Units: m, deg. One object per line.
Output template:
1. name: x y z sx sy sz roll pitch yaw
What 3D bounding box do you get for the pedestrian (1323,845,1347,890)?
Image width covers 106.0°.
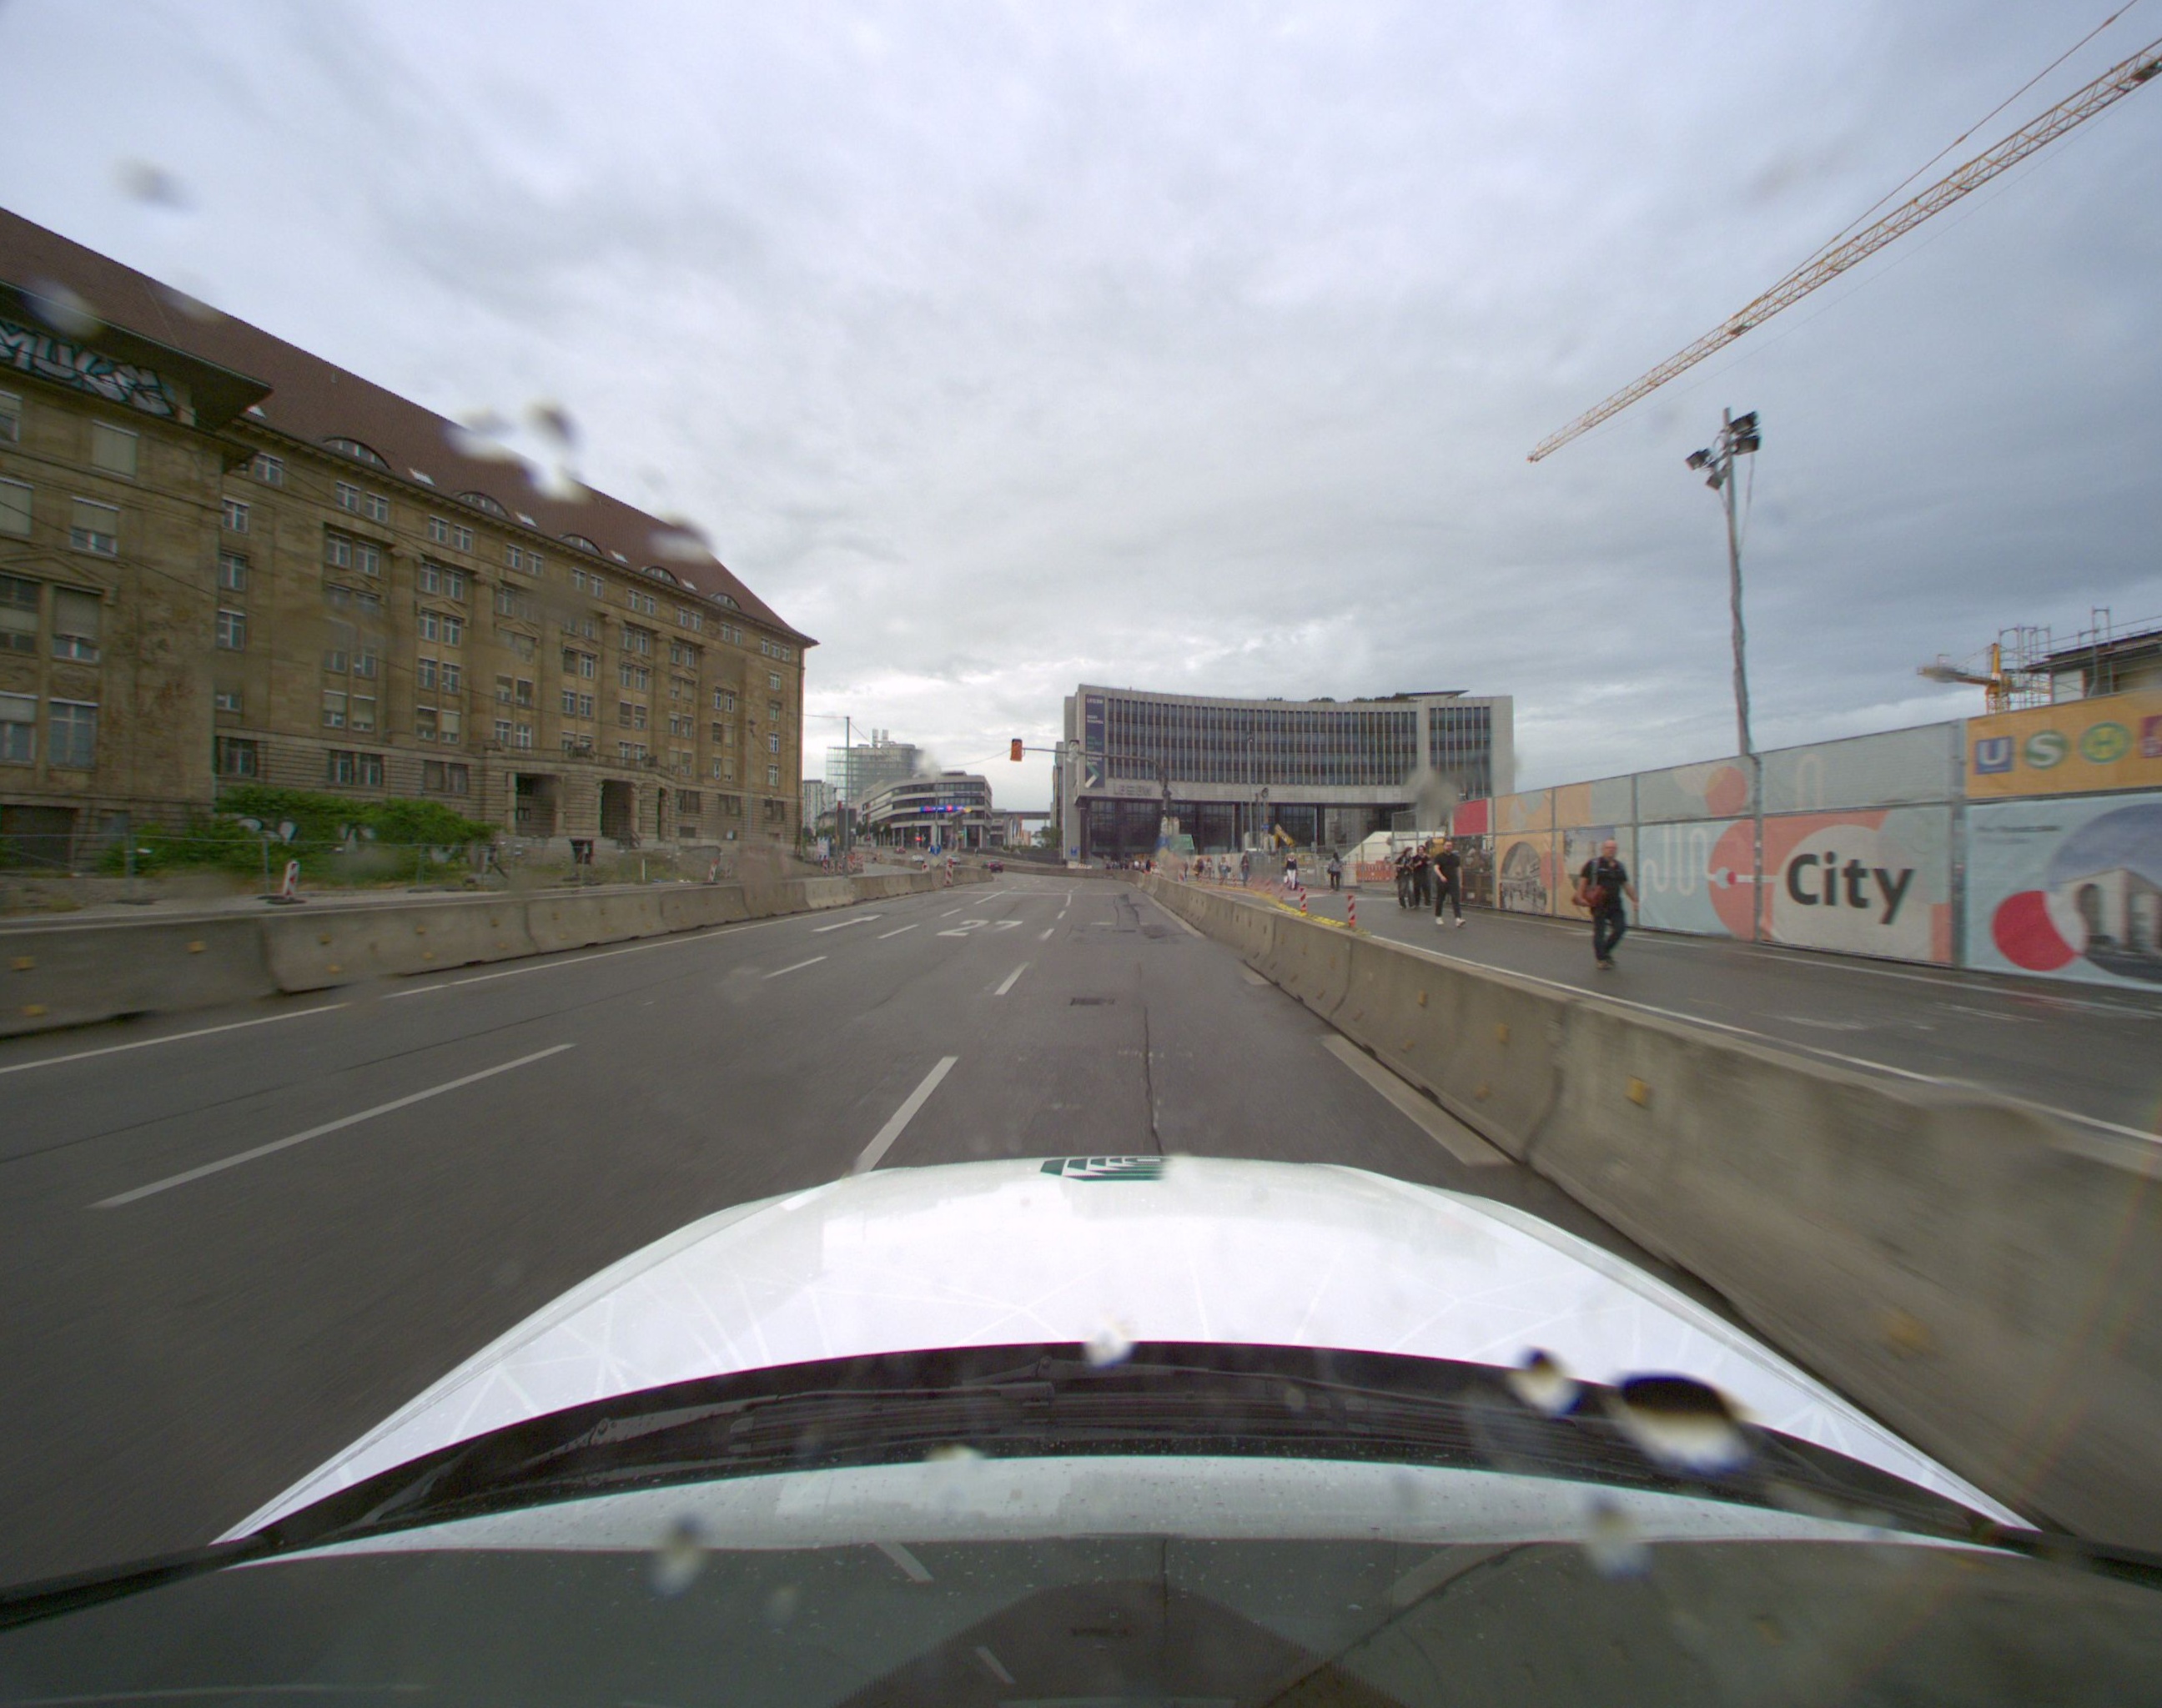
1. pedestrian: 10.636 0.555 34.153 0.785 1.862 0.682 0 0 -4

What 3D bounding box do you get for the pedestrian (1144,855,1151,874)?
1. pedestrian: 7.121 1.086 87.042 0.780 2.013 0.864 0 0 7

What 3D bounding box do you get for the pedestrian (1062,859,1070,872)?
1. pedestrian: -2.026 1.506 109.205 0.759 1.790 1.050 0 -1 -21

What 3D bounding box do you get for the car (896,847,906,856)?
1. car: -37.568 -0.592 169.787 1.996 1.804 4.246 0 0 -14

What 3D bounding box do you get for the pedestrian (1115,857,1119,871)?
1. pedestrian: 4.493 1.282 102.456 0.452 1.705 0.646 0 0 -5

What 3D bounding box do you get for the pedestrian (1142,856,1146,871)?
1. pedestrian: 7.644 1.153 98.623 0.447 1.705 0.646 0 0 -1

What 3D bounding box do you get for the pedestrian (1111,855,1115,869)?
1. pedestrian: 4.029 0.986 102.428 0.447 1.705 0.646 0 0 -5

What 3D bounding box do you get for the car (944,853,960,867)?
1. car: -18.815 0.854 118.456 1.744 1.875 3.753 0 0 -19

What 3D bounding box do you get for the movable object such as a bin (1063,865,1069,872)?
1. movable object such as a bin: -2.022 1.890 108.785 0.600 0.934 0.737 1 -1 -21

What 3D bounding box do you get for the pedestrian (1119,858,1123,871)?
1. pedestrian: 5.019 1.298 102.503 0.447 1.705 0.646 0 0 -5

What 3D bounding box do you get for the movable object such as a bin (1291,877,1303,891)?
1. movable object such as a bin: 10.050 1.374 37.884 0.432 0.624 0.534 0 0 -4

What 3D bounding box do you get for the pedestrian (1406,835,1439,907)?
1. pedestrian: 9.725 0.464 23.202 0.676 2.013 0.687 0 1 2

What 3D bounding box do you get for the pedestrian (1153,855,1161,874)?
1. pedestrian: 8.093 1.106 86.917 0.780 2.013 0.864 0 0 7

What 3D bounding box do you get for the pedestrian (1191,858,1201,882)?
1. pedestrian: 9.082 1.270 64.333 0.730 1.854 0.831 0 -1 -2

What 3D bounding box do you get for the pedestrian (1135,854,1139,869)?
1. pedestrian: 6.588 0.855 95.847 0.527 1.818 0.536 0 0 0

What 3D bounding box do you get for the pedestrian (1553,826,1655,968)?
1. pedestrian: 6.957 0.558 10.866 0.921 1.834 0.686 0 -1 2

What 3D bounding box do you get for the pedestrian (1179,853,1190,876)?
1. pedestrian: 8.269 0.841 64.955 0.777 1.862 0.810 0 0 -4

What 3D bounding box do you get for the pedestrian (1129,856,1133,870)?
1. pedestrian: 6.114 1.123 98.985 0.445 1.705 0.648 0 0 9

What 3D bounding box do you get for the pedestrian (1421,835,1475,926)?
1. pedestrian: 7.789 0.549 17.306 0.793 1.878 0.820 0 -1 2

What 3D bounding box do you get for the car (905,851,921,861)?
1. car: -27.062 0.334 131.238 1.750 1.506 3.723 0 -1 -25

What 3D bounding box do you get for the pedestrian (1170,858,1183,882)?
1. pedestrian: 7.507 1.253 64.212 0.817 1.827 1.110 -1 -1 -2

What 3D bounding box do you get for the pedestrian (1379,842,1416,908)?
1. pedestrian: 8.957 0.581 23.074 0.793 1.834 0.626 0 -1 2

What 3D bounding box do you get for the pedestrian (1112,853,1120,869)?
1. pedestrian: 3.584 0.722 83.847 0.659 1.642 0.820 0 0 -12

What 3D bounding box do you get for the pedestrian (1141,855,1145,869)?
1. pedestrian: 7.705 0.967 100.877 0.499 1.705 0.732 0 0 -1

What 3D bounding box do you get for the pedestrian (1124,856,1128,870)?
1. pedestrian: 5.517 1.101 99.340 0.446 1.705 0.648 0 0 6

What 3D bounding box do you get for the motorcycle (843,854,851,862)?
1. motorcycle: -34.256 0.578 119.298 0.873 1.148 2.137 0 0 -25

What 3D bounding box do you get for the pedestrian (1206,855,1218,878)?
1. pedestrian: 10.679 1.046 66.579 0.777 1.862 0.810 -1 0 -4

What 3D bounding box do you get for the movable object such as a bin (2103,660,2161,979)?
1. movable object such as a bin: 13.784 -0.418 7.239 3.916 3.492 4.354 -1 0 -1

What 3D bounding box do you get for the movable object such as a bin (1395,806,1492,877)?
1. movable object such as a bin: 18.879 -0.602 42.808 3.900 3.492 4.372 -1 0 14

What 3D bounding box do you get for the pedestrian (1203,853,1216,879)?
1. pedestrian: 9.146 0.836 57.990 0.777 1.862 1.057 0 0 -3

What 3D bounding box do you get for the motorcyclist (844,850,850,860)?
1. motorcyclist: -34.265 0.136 119.361 0.802 1.451 0.819 0 -1 -25

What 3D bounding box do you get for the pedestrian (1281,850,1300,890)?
1. pedestrian: 9.667 0.732 37.581 0.663 1.862 0.682 0 0 -4

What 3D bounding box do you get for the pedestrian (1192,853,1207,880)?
1. pedestrian: 8.258 0.846 56.634 0.868 1.862 0.947 0 0 -4

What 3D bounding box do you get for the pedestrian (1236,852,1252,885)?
1. pedestrian: 9.268 0.831 46.322 0.688 1.862 0.810 0 0 -4

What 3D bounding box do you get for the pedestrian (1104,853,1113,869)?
1. pedestrian: 2.843 0.741 83.676 0.751 1.642 0.820 0 0 -12

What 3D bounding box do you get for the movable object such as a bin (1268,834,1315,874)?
1. movable object such as a bin: 21.850 0.039 84.683 3.100 4.030 3.669 0 -1 -23

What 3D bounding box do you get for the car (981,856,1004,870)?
1. car: -10.432 1.039 96.207 1.682 1.508 3.715 1 -3 -23

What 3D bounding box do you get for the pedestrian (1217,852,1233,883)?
1. pedestrian: 8.808 0.823 49.820 0.777 1.862 0.948 0 0 -4

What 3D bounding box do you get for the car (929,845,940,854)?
1. car: -31.260 -1.010 173.979 1.996 1.804 4.246 0 0 -14
